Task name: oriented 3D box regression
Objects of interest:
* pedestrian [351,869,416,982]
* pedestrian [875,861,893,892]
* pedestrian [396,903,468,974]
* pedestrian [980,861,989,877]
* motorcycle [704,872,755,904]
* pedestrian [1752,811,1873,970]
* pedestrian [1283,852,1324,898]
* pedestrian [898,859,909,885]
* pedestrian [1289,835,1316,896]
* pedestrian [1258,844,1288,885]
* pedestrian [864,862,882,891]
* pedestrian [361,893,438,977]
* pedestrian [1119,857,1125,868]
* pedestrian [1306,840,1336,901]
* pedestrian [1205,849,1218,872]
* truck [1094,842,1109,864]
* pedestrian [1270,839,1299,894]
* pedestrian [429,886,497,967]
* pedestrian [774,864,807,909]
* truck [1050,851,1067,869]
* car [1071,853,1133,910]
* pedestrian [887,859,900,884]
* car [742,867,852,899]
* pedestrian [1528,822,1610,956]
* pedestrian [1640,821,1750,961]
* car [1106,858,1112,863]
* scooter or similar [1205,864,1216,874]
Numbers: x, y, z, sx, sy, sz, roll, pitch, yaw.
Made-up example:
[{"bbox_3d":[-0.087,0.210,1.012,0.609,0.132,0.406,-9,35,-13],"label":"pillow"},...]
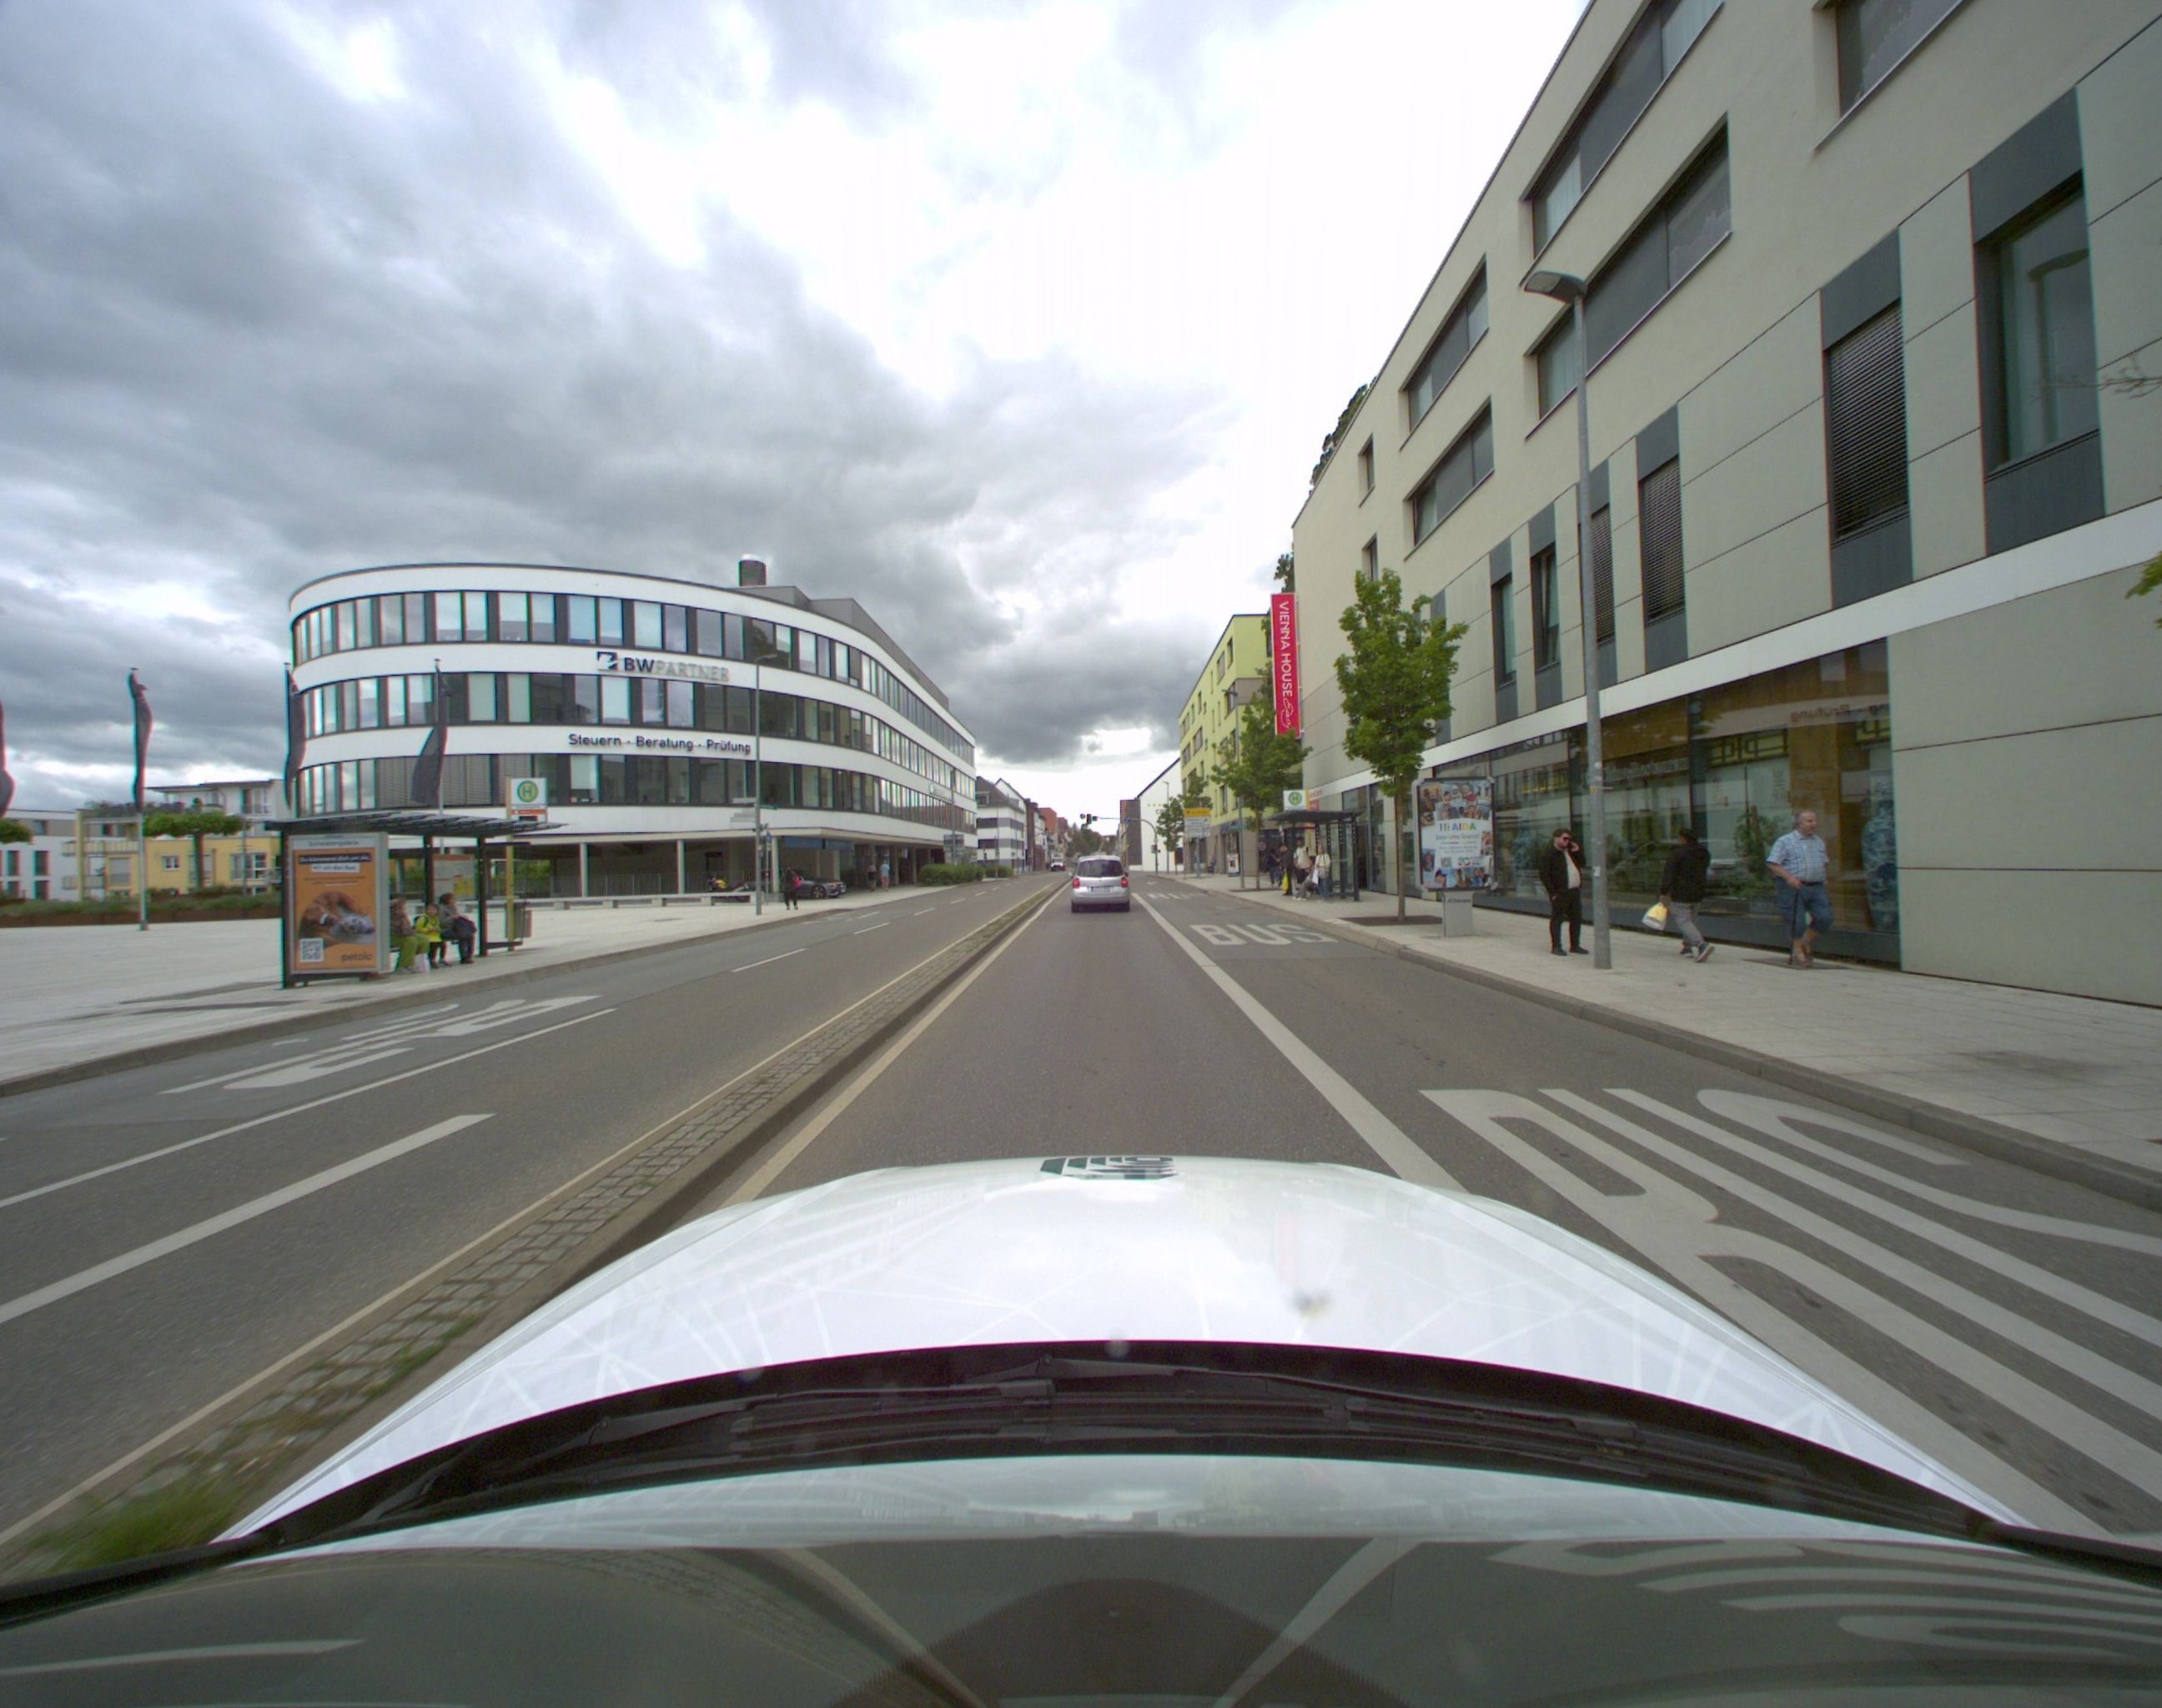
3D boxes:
[{"bbox_3d":[-10.575,1.059,12.364,0.690,1.631,0.569,-3,-1,-40],"label":"pedestrian"},{"bbox_3d":[-10.909,1.225,45.156,0.727,1.674,0.932,0,0,3],"label":"pedestrian"},{"bbox_3d":[-10.824,1.393,13.598,0.682,1.075,0.576,-4,0,-1],"label":"pedestrian"},{"bbox_3d":[-10.767,1.653,90.907,0.879,1.669,0.814,-2,2,-1],"label":"pedestrian"},{"bbox_3d":[-14.819,1.415,34.360,1.846,1.333,0.637,0,0,4],"label":"motorcycle"},{"bbox_3d":[8.048,0.386,8.986,0.741,1.669,0.614,-2,0,1],"label":"pedestrian"},{"bbox_3d":[6.398,0.600,23.454,0.940,1.259,0.732,-3,-1,-2],"label":"pedestrian"},{"bbox_3d":[-12.306,1.245,56.411,0.617,1.710,0.501,-2,-1,-29],"label":"pedestrian"},{"bbox_3d":[6.696,0.346,24.626,0.576,1.769,0.858,-3,-1,6],"label":"pedestrian"},{"bbox_3d":[7.764,0.429,33.018,0.944,1.583,1.016,-2,-1,0],"label":"pedestrian"},{"bbox_3d":[-11.760,1.244,46.131,0.727,1.613,0.932,0,0,3],"label":"pedestrian"},{"bbox_3d":[-10.855,1.270,12.985,0.682,1.253,0.576,-3,0,-1],"label":"pedestrian"},{"bbox_3d":[6.571,1.364,131.264,0.805,1.787,0.861,-4,0,2],"label":"pedestrian"},{"bbox_3d":[6.531,0.447,22.202,0.576,1.591,0.734,-3,-1,6],"label":"pedestrian"},{"bbox_3d":[9.185,0.466,57.377,0.693,1.593,0.603,-3,0,0],"label":"pedestrian"},{"bbox_3d":[3.917,-0.186,154.792,2.586,3.857,6.851,-1,0,2],"label":"truck"},{"bbox_3d":[6.462,0.405,25.851,0.717,1.683,0.734,-3,-1,6],"label":"pedestrian"},{"bbox_3d":[-10.815,1.253,14.270,0.682,1.320,0.576,-3,0,-1],"label":"pedestrian"},{"bbox_3d":[-10.392,1.144,29.173,0.826,1.567,0.814,0,0,6],"label":"pedestrian"},{"bbox_3d":[-3.708,0.954,135.782,2.426,2.953,8.366,-1,0,1],"label":"truck"},{"bbox_3d":[0.616,0.757,24.199,1.700,1.579,4.001,0,0,1],"label":"car"},{"bbox_3d":[-13.106,1.235,56.919,0.500,1.730,0.619,-2,-1,32],"label":"pedestrian"},{"bbox_3d":[-13.219,1.322,38.101,4.434,1.415,1.906,0,0,6],"label":"car"},{"bbox_3d":[6.354,0.444,10.623,0.652,1.669,0.614,-2,0,1],"label":"pedestrian"},{"bbox_3d":[7.397,0.430,9.844,0.738,1.608,0.715,-2,0,1],"label":"pedestrian"},{"bbox_3d":[8.131,1.784,235.604,1.806,1.354,4.002,-3,0,2],"label":"car"},{"bbox_3d":[9.002,1.017,56.650,0.590,0.673,0.824,-3,0,0],"label":"scooter or similar"}]
